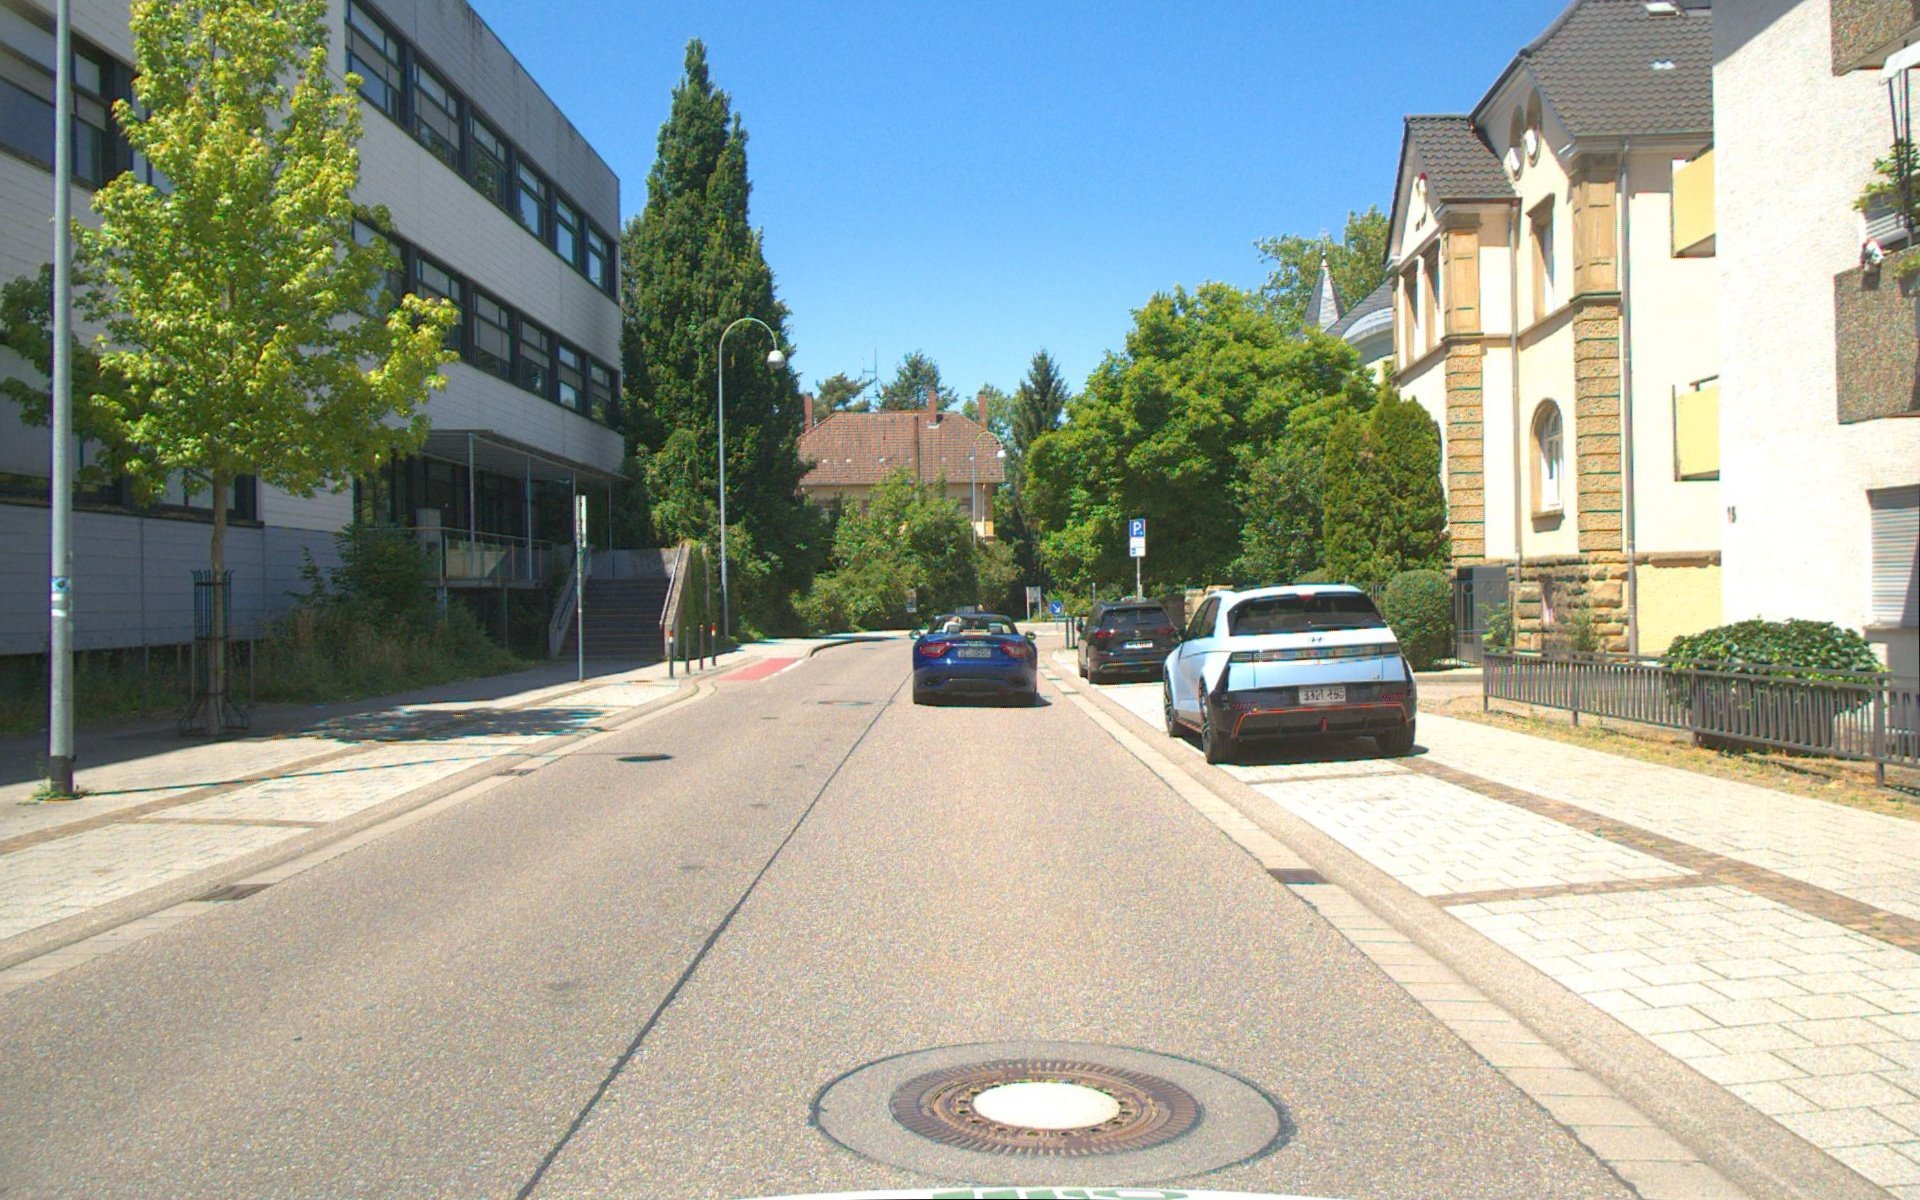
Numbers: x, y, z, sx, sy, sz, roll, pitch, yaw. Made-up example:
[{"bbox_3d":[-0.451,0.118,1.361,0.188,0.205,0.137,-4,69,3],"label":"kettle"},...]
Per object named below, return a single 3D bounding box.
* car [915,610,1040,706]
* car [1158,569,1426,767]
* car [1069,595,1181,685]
[{"bbox_3d":[0.256,0.846,26.078,1.789,1.360,4.700,0,0,0],"label":"car"},{"bbox_3d":[3.184,0.597,16.775,1.806,1.647,4.427,-3,0,1],"label":"car"},{"bbox_3d":[3.057,0.703,31.339,1.598,1.471,4.397,-4,0,0],"label":"car"}]
